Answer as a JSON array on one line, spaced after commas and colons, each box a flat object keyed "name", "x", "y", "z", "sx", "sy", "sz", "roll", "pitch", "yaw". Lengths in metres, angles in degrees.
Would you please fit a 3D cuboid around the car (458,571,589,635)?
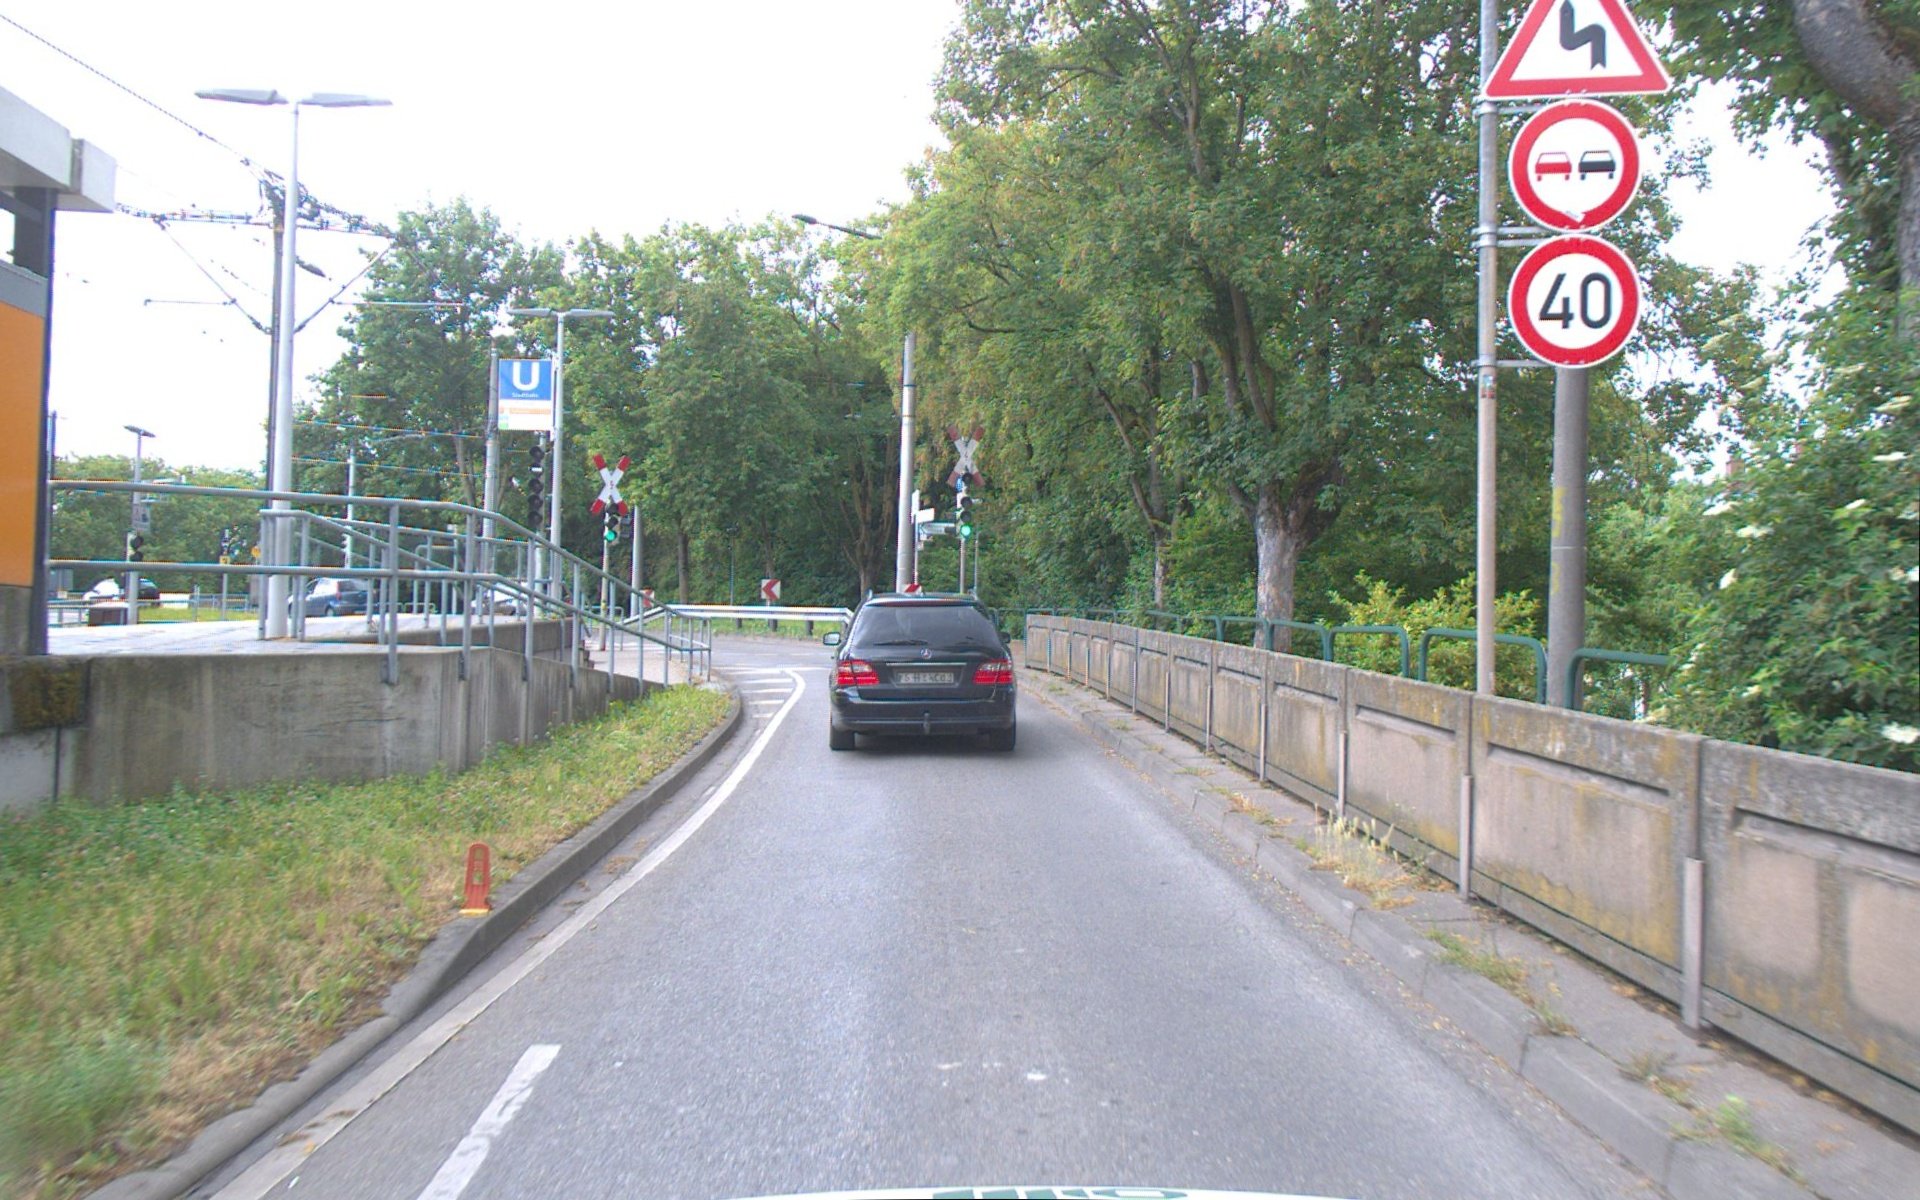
[{"name": "car", "x": -12.358, "y": 0.081, "z": 46.705, "sx": 3.932, "sy": 1.677, "sz": 1.775, "roll": 2, "pitch": 0, "yaw": 44}]

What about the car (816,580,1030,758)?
[{"name": "car", "x": -0.488, "y": 0.576, "z": 16.538, "sx": 1.748, "sy": 1.552, "sz": 3.994, "roll": 0, "pitch": 1, "yaw": -7}]

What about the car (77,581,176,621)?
[{"name": "car", "x": -32.535, "y": 0.047, "z": 64.526, "sx": 3.923, "sy": 1.423, "sz": 1.991, "roll": 2, "pitch": 0, "yaw": 38}]

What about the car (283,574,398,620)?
[{"name": "car", "x": -20.585, "y": -0.108, "z": 54.911, "sx": 3.929, "sy": 1.423, "sz": 1.988, "roll": 2, "pitch": 0, "yaw": 42}]
